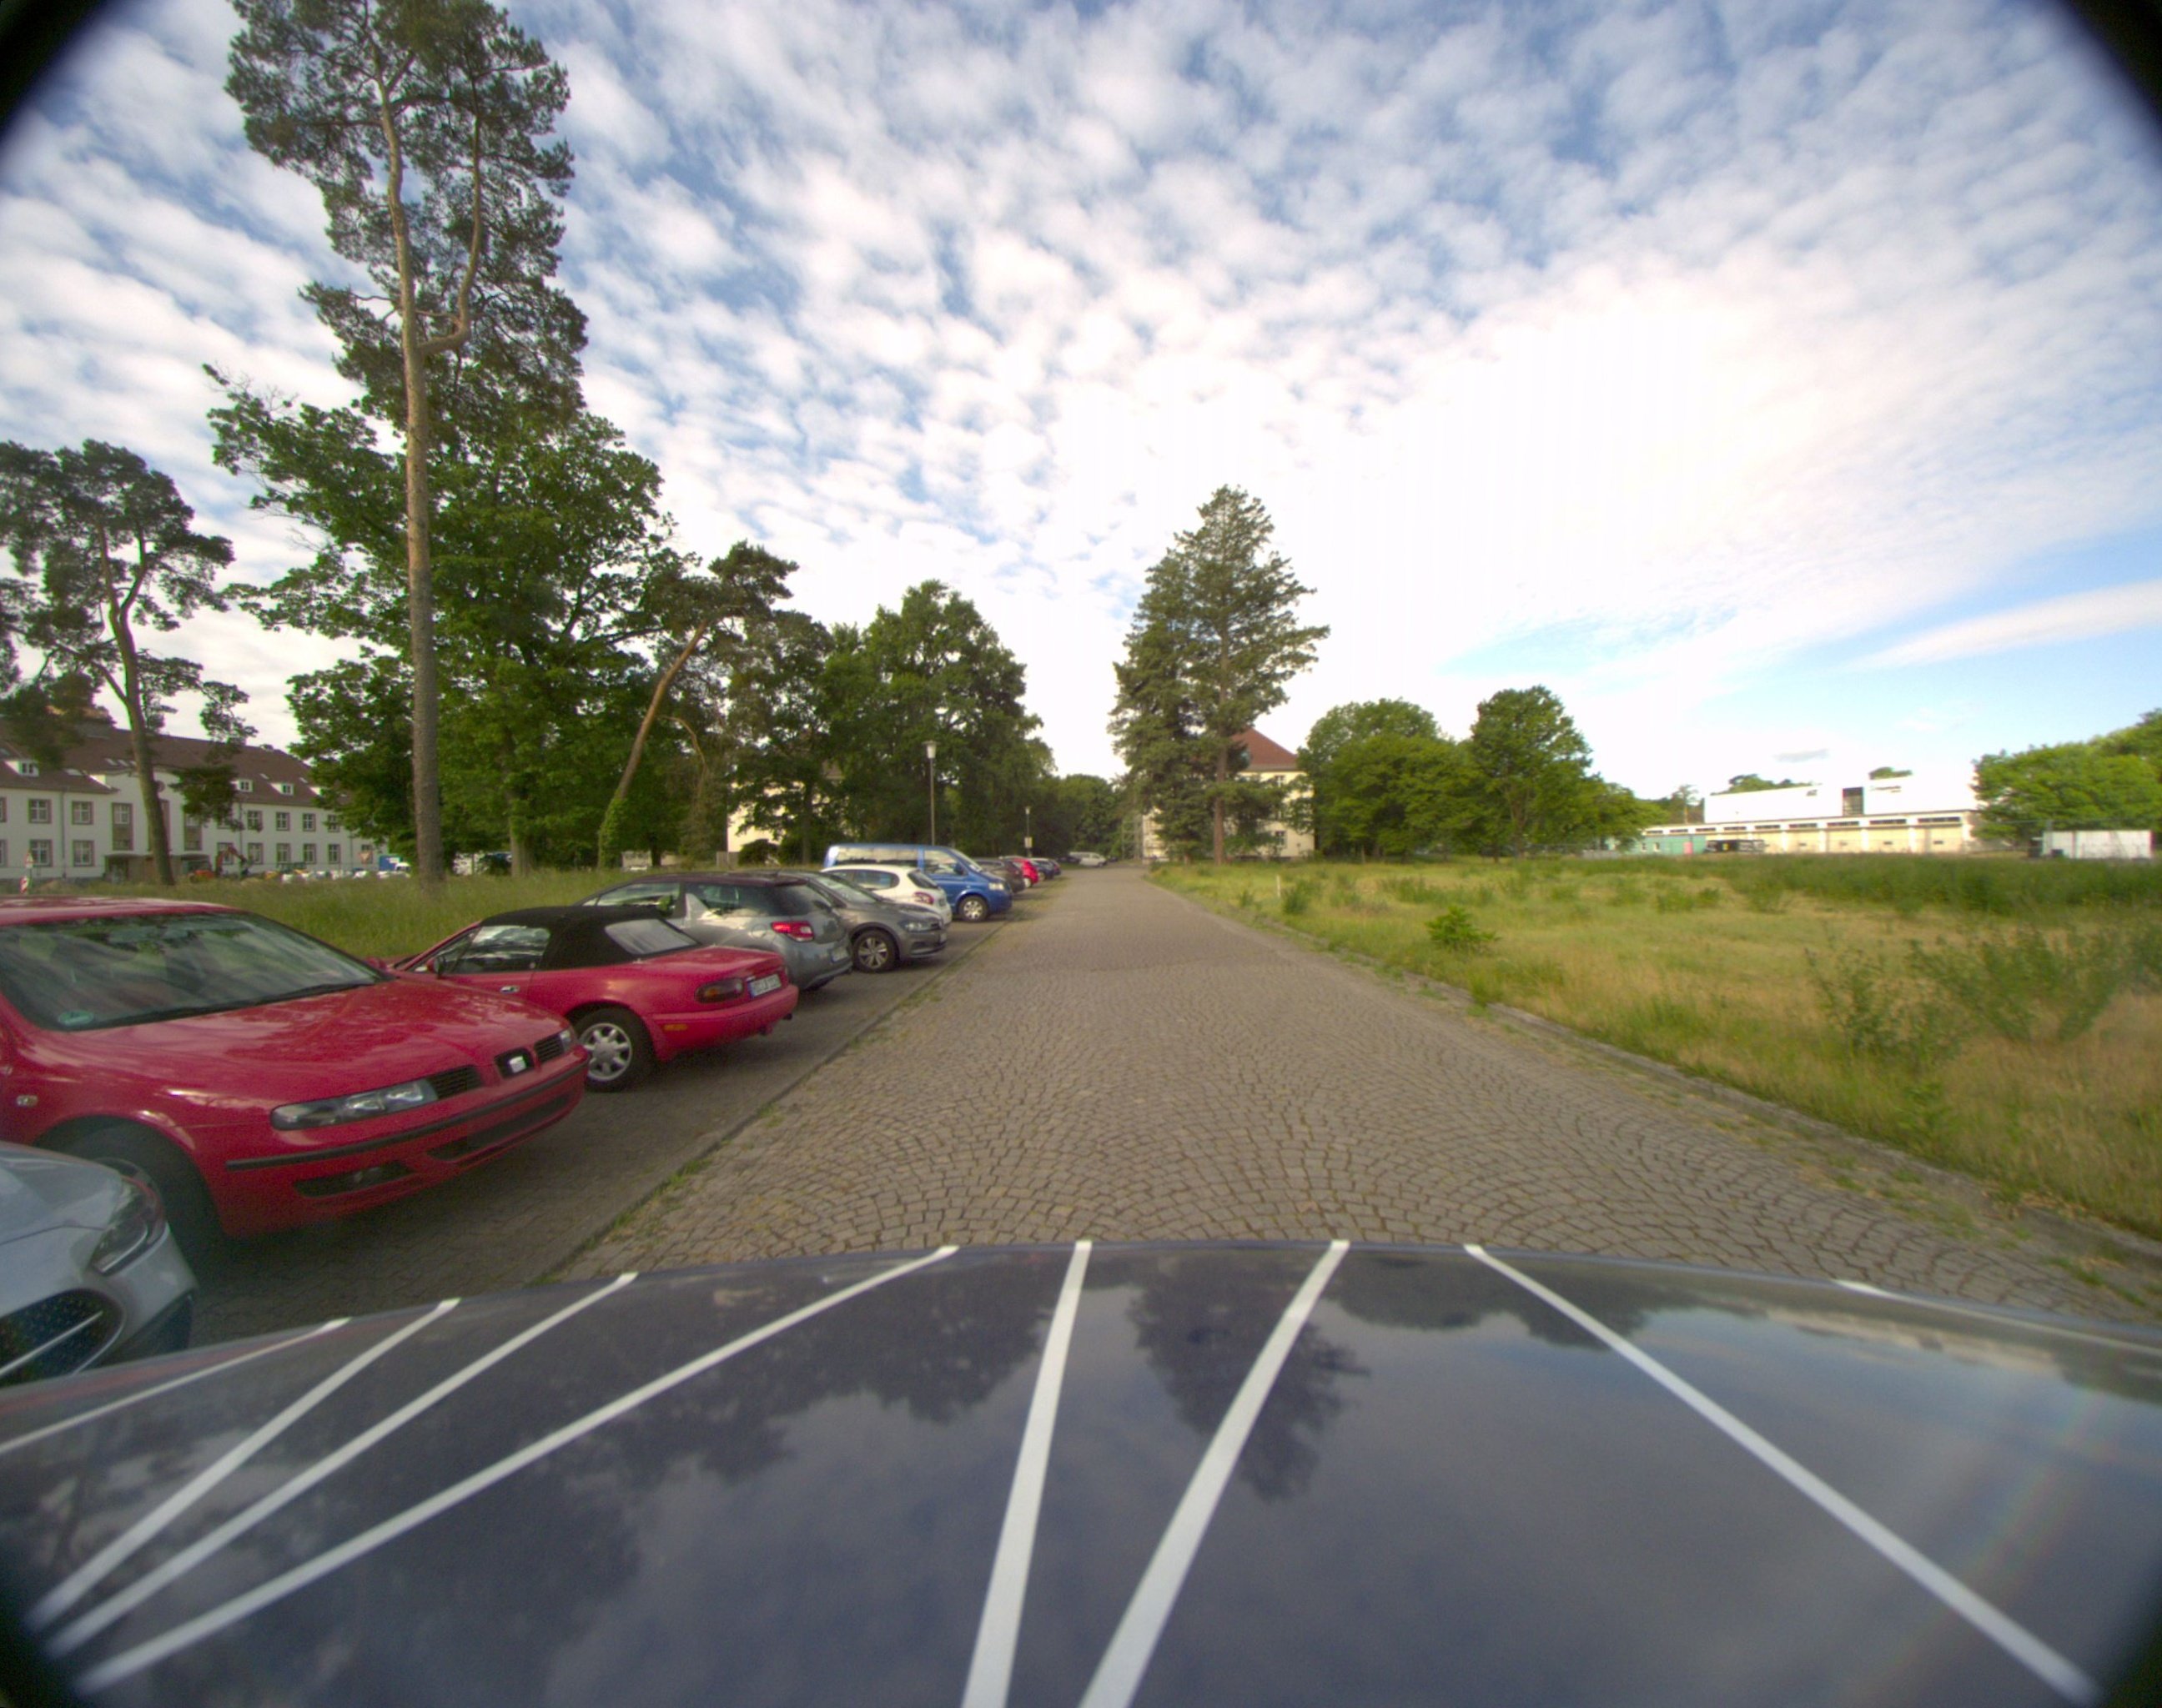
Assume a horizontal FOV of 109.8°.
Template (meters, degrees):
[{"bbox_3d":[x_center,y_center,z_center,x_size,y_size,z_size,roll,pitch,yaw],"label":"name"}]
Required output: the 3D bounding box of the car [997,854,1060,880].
[{"bbox_3d":[-3.349,0.844,49.117,3.836,1.609,1.582,-1,1,6],"label":"car"}]

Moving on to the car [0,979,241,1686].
[{"bbox_3d":[-4.456,1.057,1.166,4.336,1.420,1.767,0,0,0],"label":"car"}]

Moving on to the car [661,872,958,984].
[{"bbox_3d":[-3.902,1.049,11.322,3.780,1.457,1.643,-1,1,3],"label":"car"}]

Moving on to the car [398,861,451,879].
[{"bbox_3d":[-66.590,1.612,77.143,1.846,1.674,3.937,1,0,4],"label":"car"}]

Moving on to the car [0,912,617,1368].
[{"bbox_3d":[-4.726,1.071,3.498,4.117,1.415,1.720,-1,1,2],"label":"car"}]

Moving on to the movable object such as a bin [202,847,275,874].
[{"bbox_3d":[-87.845,0.658,79.321,1.999,2.752,5.202,-1,0,-4],"label":"movable object such as a bin"}]

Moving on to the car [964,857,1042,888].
[{"bbox_3d":[-3.923,0.926,38.706,3.838,1.516,1.581,-1,1,-2],"label":"car"}]

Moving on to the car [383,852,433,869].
[{"bbox_3d":[-79.976,0.756,90.367,2.217,2.002,4.002,-1,0,6],"label":"car"}]

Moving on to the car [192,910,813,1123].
[{"bbox_3d":[-4.126,1.139,5.811,3.554,1.279,1.608,-1,-1,2],"label":"car"}]

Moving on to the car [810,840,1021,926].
[{"bbox_3d":[-4.153,0.711,19.668,4.953,2.011,2.060,1,1,2],"label":"car"}]

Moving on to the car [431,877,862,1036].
[{"bbox_3d":[-4.610,1.060,8.448,3.837,1.495,1.604,-1,1,1],"label":"car"}]

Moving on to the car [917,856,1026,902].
[{"bbox_3d":[-4.028,0.920,28.308,3.838,1.592,1.581,-1,0,-2],"label":"car"}]

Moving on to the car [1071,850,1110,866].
[{"bbox_3d":[1.255,0.512,102.472,5.129,2.002,1.804,-1,1,-1],"label":"car"}]

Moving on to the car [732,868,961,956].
[{"bbox_3d":[-4.290,1.049,14.247,3.761,1.490,1.581,-1,1,3],"label":"car"}]

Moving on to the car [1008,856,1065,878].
[{"bbox_3d":[-3.122,0.908,53.899,3.836,1.520,1.674,-1,1,6],"label":"car"}]
